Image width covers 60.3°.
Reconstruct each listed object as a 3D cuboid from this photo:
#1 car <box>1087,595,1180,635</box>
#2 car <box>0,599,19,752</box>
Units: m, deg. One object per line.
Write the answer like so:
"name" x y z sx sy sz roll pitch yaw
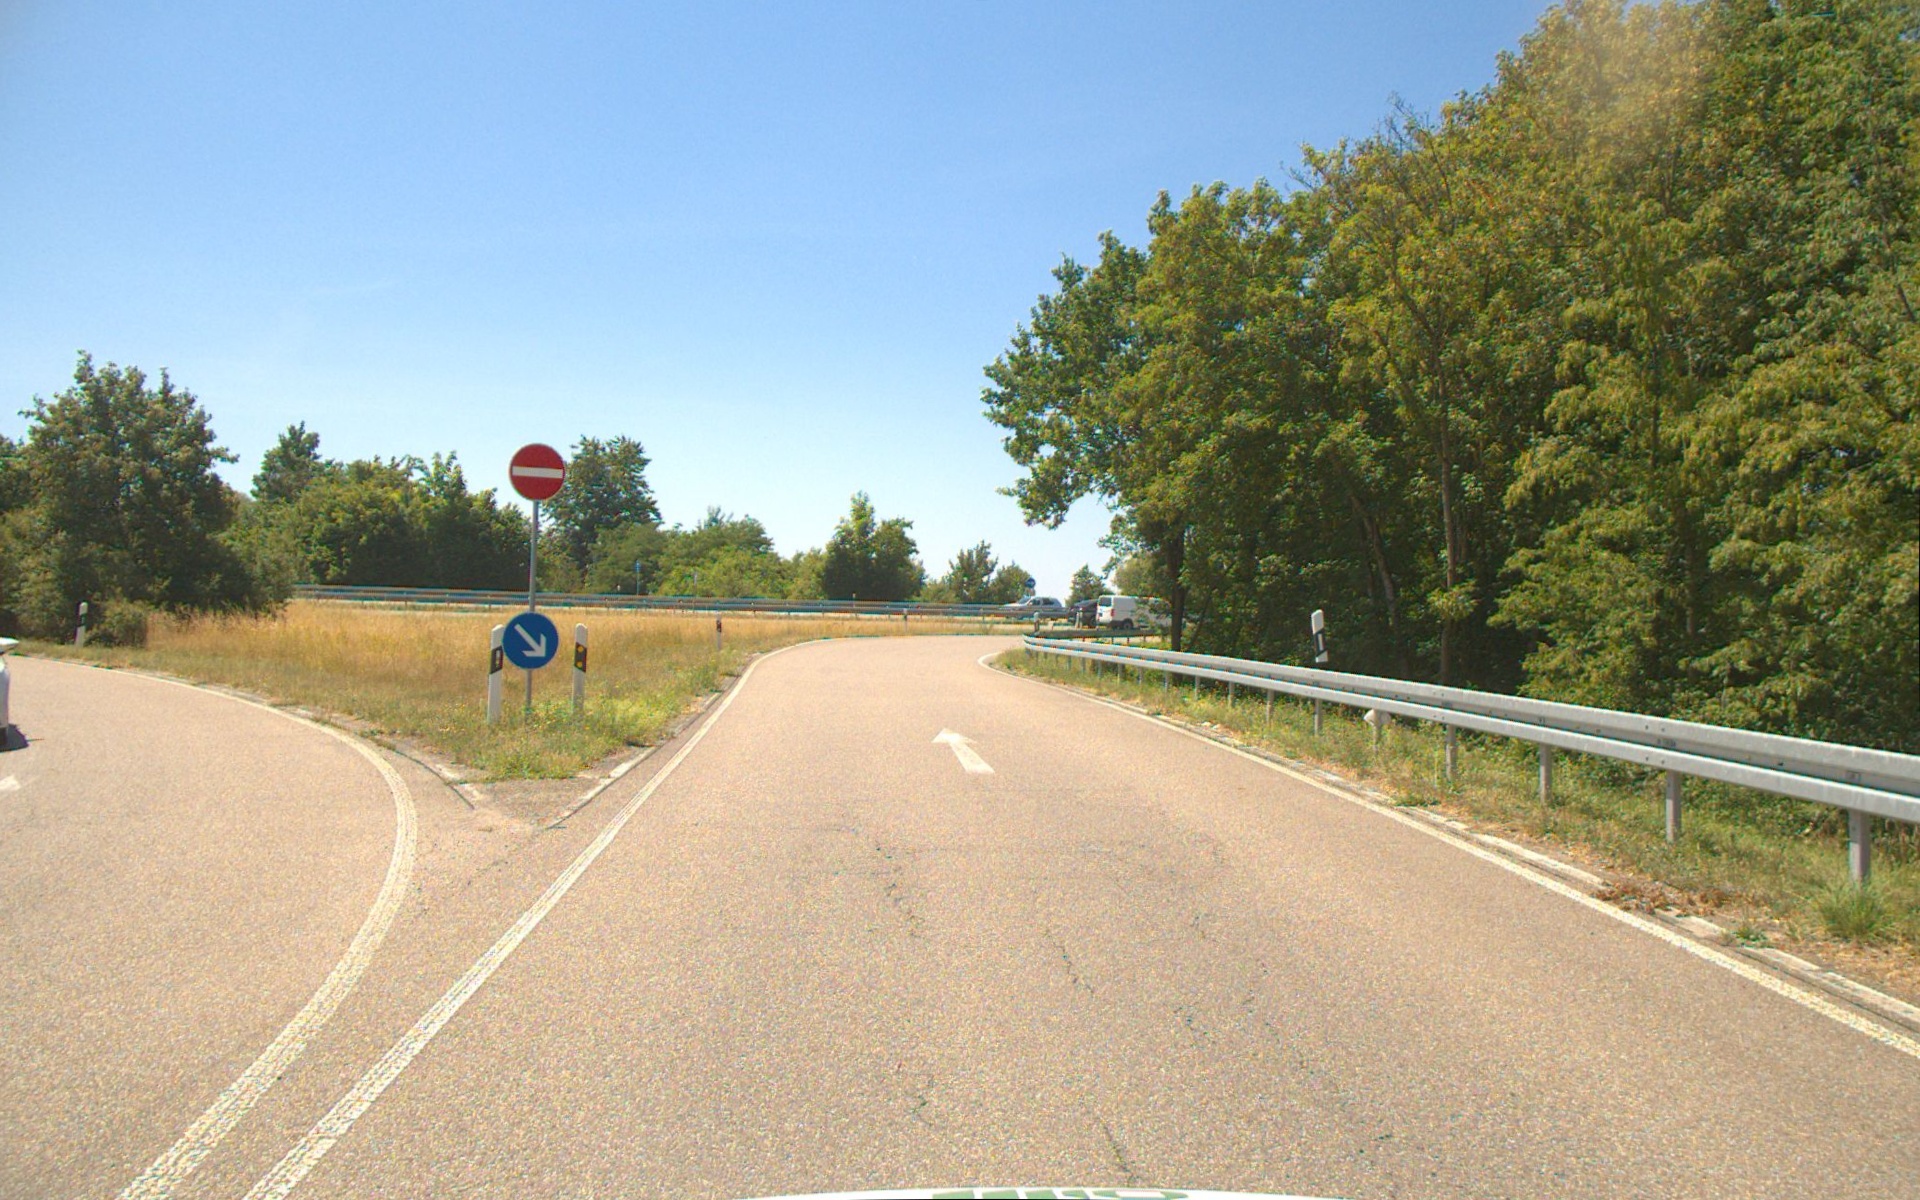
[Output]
"car" 9.507 0.821 90.593 4.748 1.961 1.982 4 -2 -28
"car" -11.021 0.755 17.473 1.827 1.449 4.107 -1 1 -30
